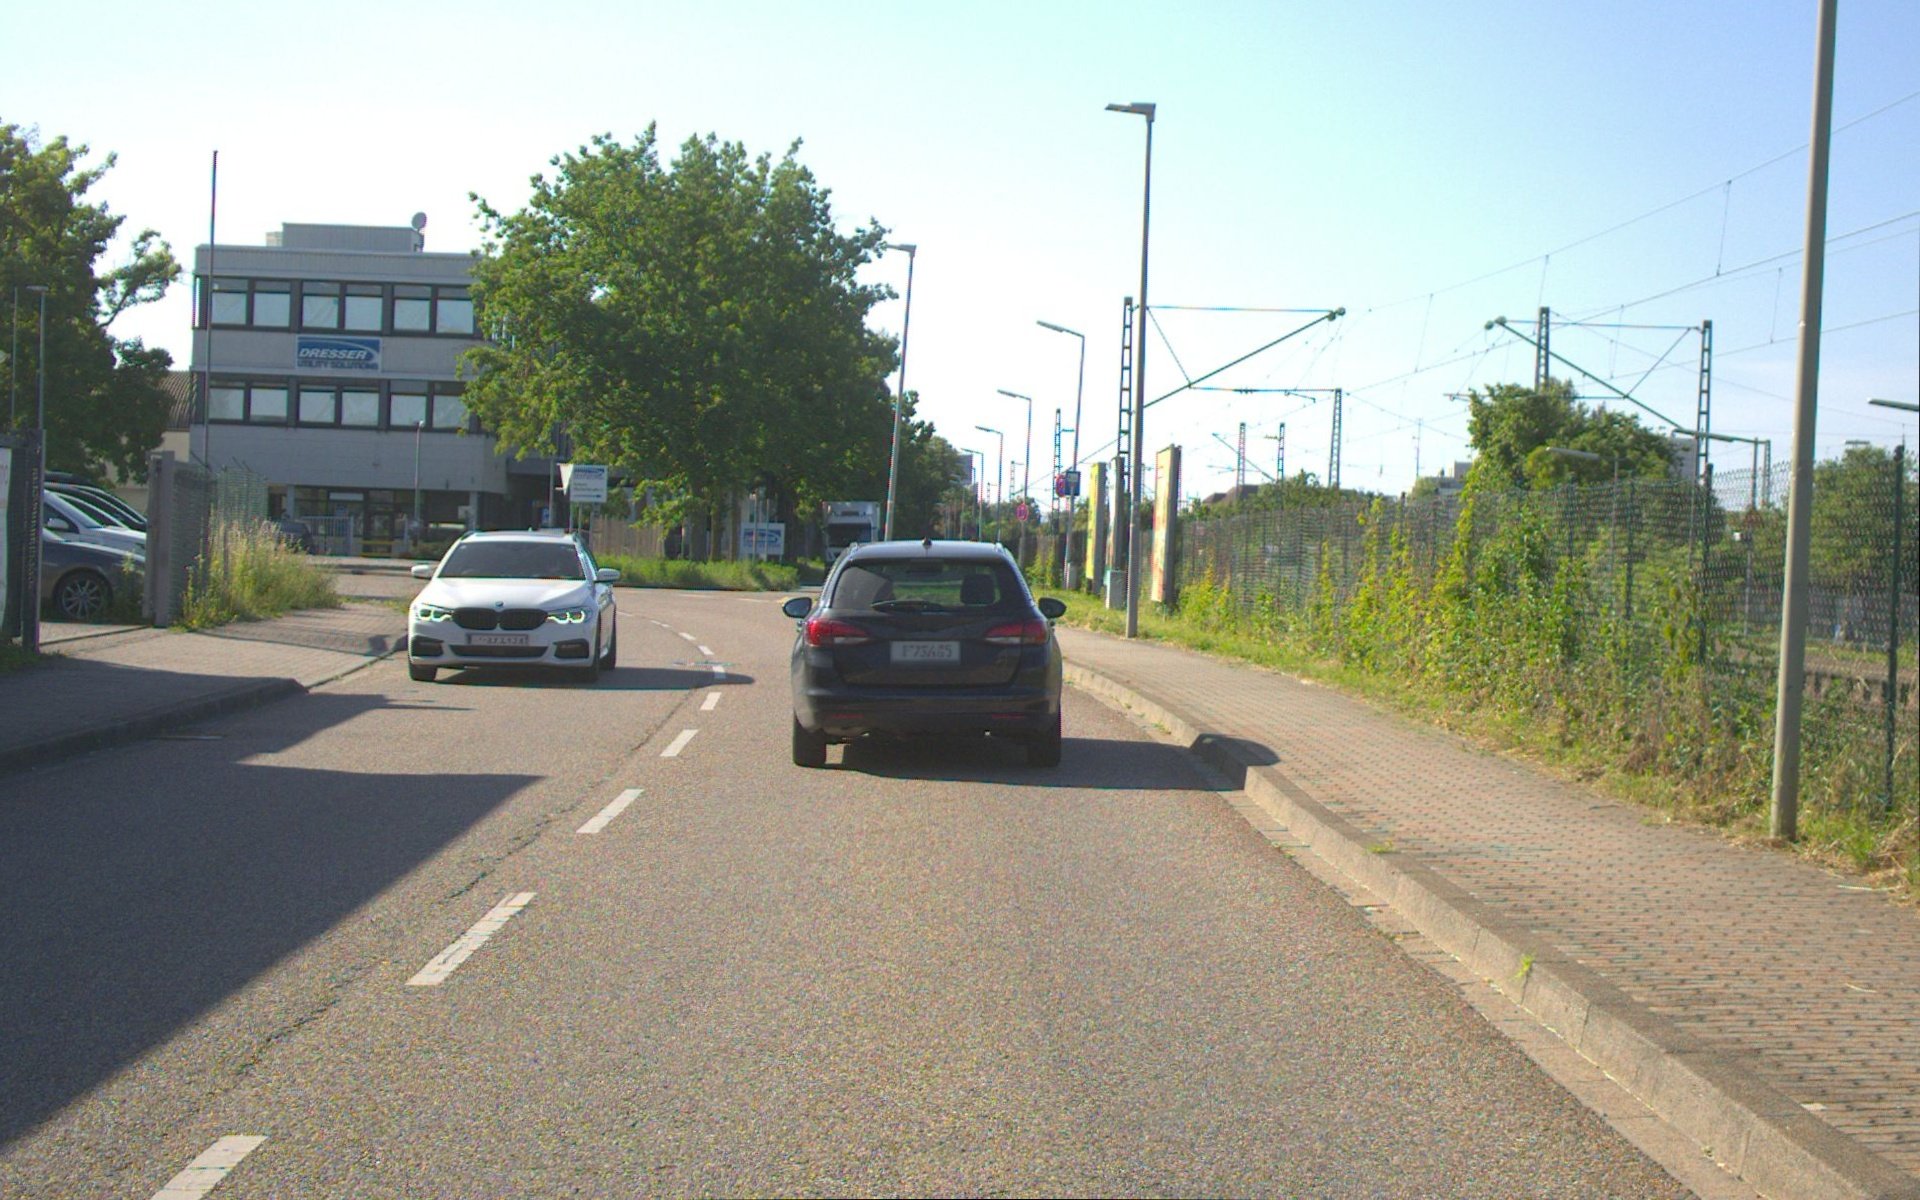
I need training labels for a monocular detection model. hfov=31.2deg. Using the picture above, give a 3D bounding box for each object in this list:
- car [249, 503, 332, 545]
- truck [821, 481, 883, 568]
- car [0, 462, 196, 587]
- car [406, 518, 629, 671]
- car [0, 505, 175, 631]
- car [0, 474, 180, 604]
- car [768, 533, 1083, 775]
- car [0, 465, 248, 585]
[{"bbox_3d":[-25.479,-2.903,130.920,1.994,1.479,4.927,2,2,2],"label":"car"},{"bbox_3d":[-5.190,-3.583,163.900,2.613,3.872,13.534,3,1,-3],"label":"truck"},{"bbox_3d":[-12.997,-1.091,48.253,4.388,1.643,1.841,2,1,-13],"label":"car"},{"bbox_3d":[-4.495,-0.106,35.512,1.808,1.473,4.688,0,1,-1],"label":"car"},{"bbox_3d":[-12.221,-0.448,43.410,4.388,1.501,1.841,2,1,-10],"label":"car"},{"bbox_3d":[-12.728,-0.855,45.908,4.388,1.643,1.841,2,1,-10],"label":"car"},{"bbox_3d":[-0.253,0.299,23.671,1.942,1.483,4.566,1,1,-1],"label":"car"},{"bbox_3d":[-12.930,-1.126,51.221,4.388,1.643,1.841,2,1,-15],"label":"car"}]
